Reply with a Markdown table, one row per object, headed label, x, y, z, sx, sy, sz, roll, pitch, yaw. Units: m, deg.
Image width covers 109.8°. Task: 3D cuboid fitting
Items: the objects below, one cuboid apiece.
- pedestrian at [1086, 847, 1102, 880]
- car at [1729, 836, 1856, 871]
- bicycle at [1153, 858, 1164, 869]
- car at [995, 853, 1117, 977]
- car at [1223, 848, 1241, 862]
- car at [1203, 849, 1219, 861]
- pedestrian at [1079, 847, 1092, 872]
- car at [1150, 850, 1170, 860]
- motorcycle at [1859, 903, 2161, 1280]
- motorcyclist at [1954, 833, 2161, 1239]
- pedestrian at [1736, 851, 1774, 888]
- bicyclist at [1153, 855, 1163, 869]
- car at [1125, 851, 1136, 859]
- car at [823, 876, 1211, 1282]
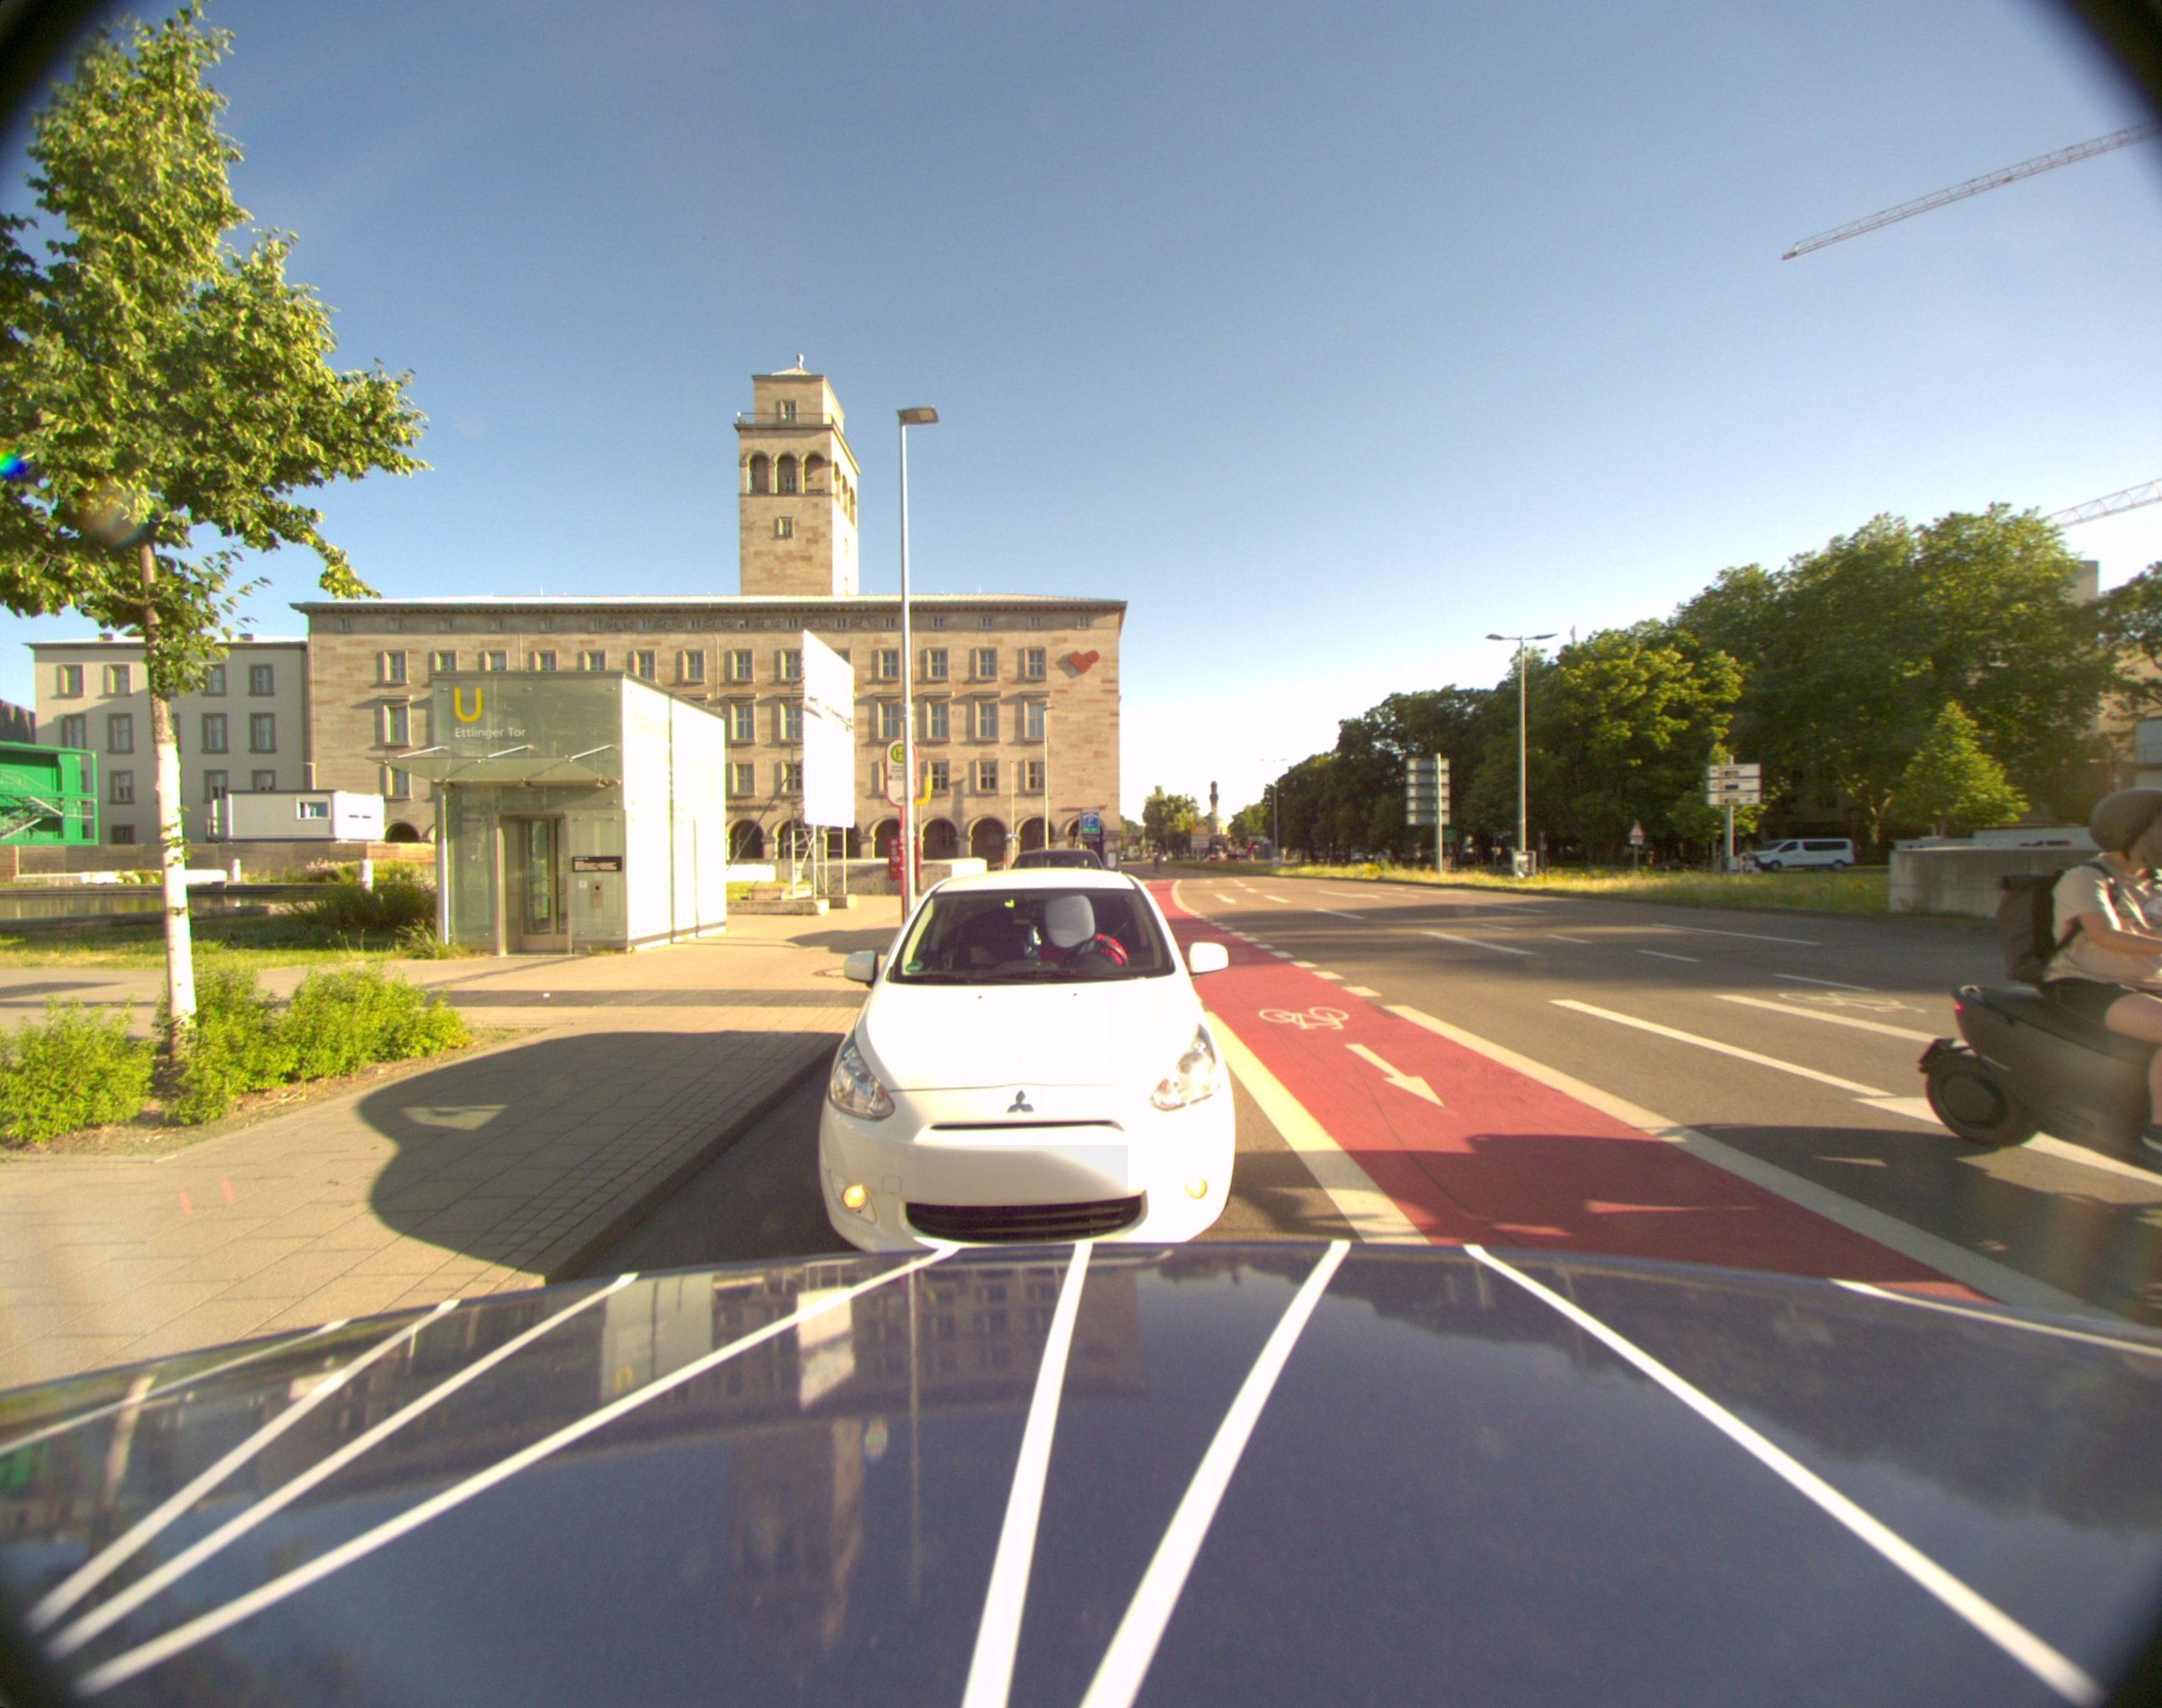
| label | x | y | z | sx | sy | sz | roll | pitch | yaw |
| --- | --- | --- | --- | --- | --- | --- | --- | --- | --- |
| pedestrian | 0.994 | 0.722 | 58.666 | 1.122 | 2.524 | 1.055 | -2 | 1 | 1 |
| car | 42.138 | -0.043 | 45.106 | 5.516 | 1.924 | 2.065 | -1 | 1 | 2 |
| bicycle | 7.704 | 0.932 | 75.729 | 0.854 | 1.109 | 2.808 | -2 | 0 | 1 |
| car | -0.370 | 0.842 | 12.515 | 1.642 | 1.653 | 3.849 | -2 | 0 | -1 |
| car | 21.582 | 0.152 | 108.917 | 1.819 | 1.817 | 3.999 | -2 | 1 | 1 |
| car | 20.593 | 0.134 | 120.436 | 1.747 | 1.778 | 3.947 | -2 | 1 | 1 |
| pedestrian | 0.465 | 0.542 | 76.513 | 1.122 | 2.524 | 1.055 | -2 | 1 | 1 |
| car | 14.234 | 0.115 | 137.456 | 1.853 | 1.677 | 3.992 | -3 | 1 | -23 |
| motorcycle | 4.286 | 0.900 | 2.882 | 0.724 | 1.286 | 1.884 | -2 | 0 | 1 |
| motorcyclist | 4.279 | 0.656 | 2.935 | 0.727 | 1.466 | 0.917 | -2 | 0 | 1 |
| pedestrian | 33.937 | 0.765 | 38.249 | 0.989 | 1.821 | 1.019 | -2 | 1 | -3 |
| bicyclist | 7.711 | 0.773 | 75.754 | 0.854 | 1.340 | 0.829 | -2 | 1 | 1 |
| car | 11.939 | 0.279 | 183.395 | 1.877 | 1.827 | 4.584 | -2 | 1 | -3 |
| car | -0.231 | 0.956 | 4.836 | 1.496 | 1.477 | 3.604 | -2 | 0 | 1 |
